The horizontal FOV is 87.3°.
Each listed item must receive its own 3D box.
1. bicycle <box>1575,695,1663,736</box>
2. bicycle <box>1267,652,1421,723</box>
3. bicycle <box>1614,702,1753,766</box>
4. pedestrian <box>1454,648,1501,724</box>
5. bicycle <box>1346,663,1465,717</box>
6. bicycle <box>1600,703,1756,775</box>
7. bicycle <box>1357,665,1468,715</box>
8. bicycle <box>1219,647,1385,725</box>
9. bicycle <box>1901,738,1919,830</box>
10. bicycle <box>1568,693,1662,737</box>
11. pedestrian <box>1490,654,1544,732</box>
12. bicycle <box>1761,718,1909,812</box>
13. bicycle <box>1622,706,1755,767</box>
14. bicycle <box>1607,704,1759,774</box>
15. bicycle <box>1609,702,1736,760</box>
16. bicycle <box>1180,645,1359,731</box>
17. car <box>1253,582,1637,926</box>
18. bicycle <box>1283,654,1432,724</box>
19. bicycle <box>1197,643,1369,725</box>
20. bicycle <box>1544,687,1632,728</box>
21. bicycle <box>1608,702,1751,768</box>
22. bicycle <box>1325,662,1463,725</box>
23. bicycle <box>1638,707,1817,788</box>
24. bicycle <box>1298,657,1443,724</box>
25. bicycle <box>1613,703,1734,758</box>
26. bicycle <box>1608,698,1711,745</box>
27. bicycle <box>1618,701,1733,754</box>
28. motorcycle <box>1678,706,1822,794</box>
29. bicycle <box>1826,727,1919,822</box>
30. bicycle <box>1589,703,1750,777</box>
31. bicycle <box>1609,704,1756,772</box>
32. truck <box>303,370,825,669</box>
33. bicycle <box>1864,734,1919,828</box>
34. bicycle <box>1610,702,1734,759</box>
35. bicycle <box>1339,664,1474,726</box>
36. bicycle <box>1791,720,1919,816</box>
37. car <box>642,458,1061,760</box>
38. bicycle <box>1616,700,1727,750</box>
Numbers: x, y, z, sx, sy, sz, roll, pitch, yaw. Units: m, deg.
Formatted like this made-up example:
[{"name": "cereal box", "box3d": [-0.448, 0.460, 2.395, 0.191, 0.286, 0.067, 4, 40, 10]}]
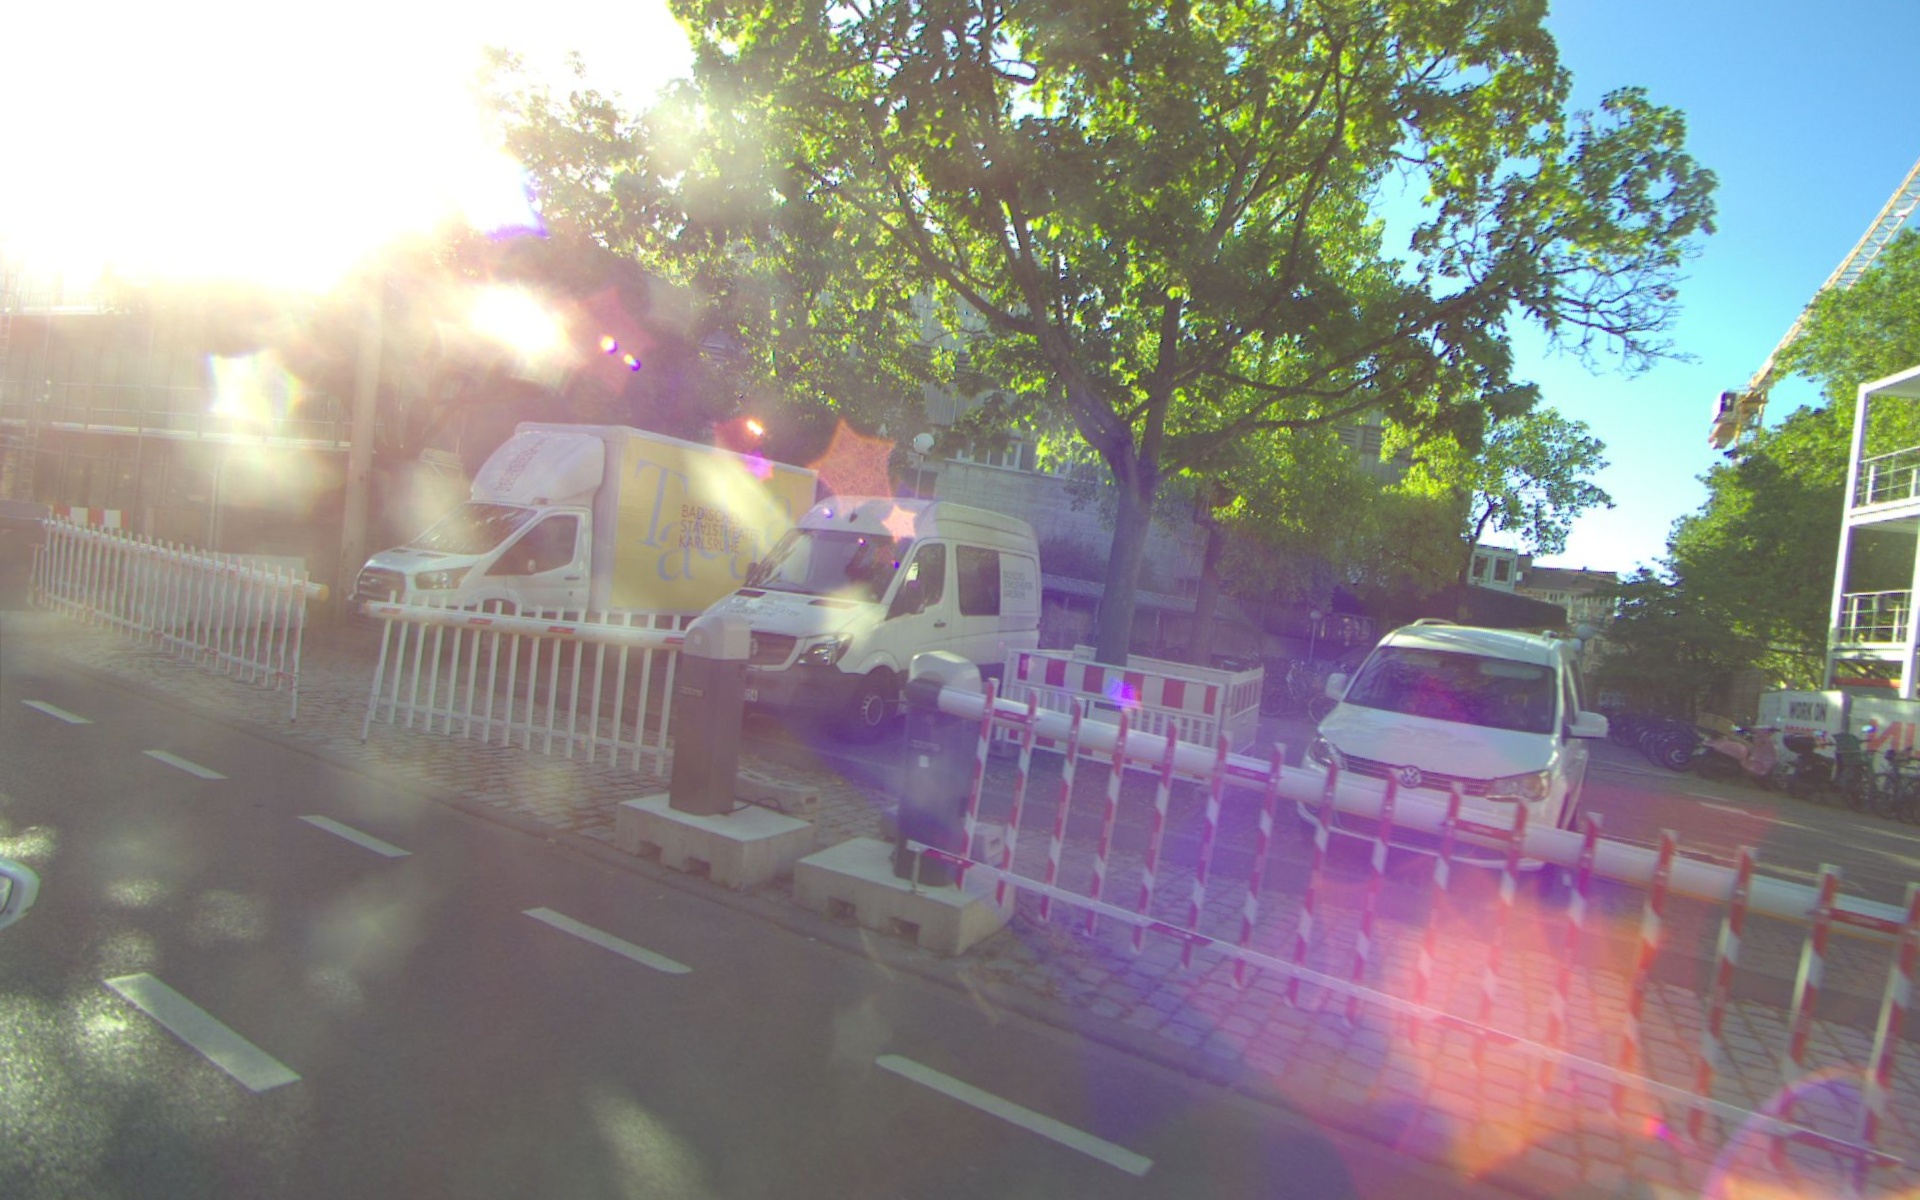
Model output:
[{"name": "bicycle", "box3d": [26.038, 4.552, 39.802, 2.792, 1.162, 0.819, 7, 1, 33]}, {"name": "bicycle", "box3d": [8.620, 1.948, 22.726, 3.044, 1.162, 0.818, 7, 1, 40]}, {"name": "bicycle", "box3d": [18.841, 3.459, 26.245, 2.797, 1.162, 0.818, 7, 1, 40]}, {"name": "pedestrian", "box3d": [14.770, 2.455, 28.709, 0.792, 2.039, 0.934, 7, 1, 41]}, {"name": "bicycle", "box3d": [13.193, 2.650, 29.895, 3.044, 1.162, 0.818, 7, 1, 40]}, {"name": "bicycle", "box3d": [16.631, 3.187, 23.374, 2.797, 1.162, 0.818, 7, 1, 40]}, {"name": "bicycle", "box3d": [14.574, 2.901, 32.490, 3.044, 1.162, 0.818, 7, 1, 40]}, {"name": "bicycle", "box3d": [6.982, 1.734, 20.677, 3.044, 1.162, 0.818, 7, 1, 40]}, {"name": "bicycle", "box3d": [14.660, 2.741, 14.391, 2.014, 1.273, 0.470, 7, 1, -7]}, {"name": "bicycle", "box3d": [24.307, 4.240, 37.389, 2.792, 1.162, 0.819, 7, 1, 33]}, {"name": "pedestrian", "box3d": [15.702, 2.592, 28.377, 0.788, 2.039, 1.031, 7, 1, 7]}, {"name": "bicycle", "box3d": [14.535, 2.741, 16.729, 2.014, 1.273, 0.542, 7, 1, -7]}, {"name": "bicycle", "box3d": [19.695, 3.657, 27.252, 2.797, 1.162, 0.818, 7, 1, 40]}, {"name": "bicycle", "box3d": [17.204, 3.271, 24.010, 2.797, 1.162, 0.818, 7, 1, 40]}, {"name": "bicycle", "box3d": [20.143, 3.678, 28.501, 2.797, 1.162, 0.818, 7, 1, 40]}, {"name": "bicycle", "box3d": [5.766, 1.623, 18.923, 3.044, 1.162, 0.818, 7, 1, 40]}, {"name": "car", "box3d": [4.435, 1.045, 8.655, 1.979, 1.917, 4.928, 8, 2, 35]}, {"name": "bicycle", "box3d": [9.246, 2.056, 23.541, 3.044, 1.162, 0.818, 7, 1, 40]}, {"name": "bicycle", "box3d": [6.291, 1.615, 19.768, 3.044, 1.162, 0.818, 7, 1, 40]}, {"name": "bicycle", "box3d": [24.596, 4.211, 39.441, 2.792, 1.162, 0.819, 7, 1, 33]}, {"name": "bicycle", "box3d": [18.236, 3.396, 25.558, 2.797, 1.162, 0.818, 7, 1, 40]}, {"name": "bicycle", "box3d": [11.142, 2.382, 25.929, 3.044, 1.162, 0.818, 7, 1, 40]}, {"name": "bicycle", "box3d": [15.773, 2.996, 20.764, 2.797, 1.162, 0.818, 7, 1, 40]}, {"name": "bicycle", "box3d": [9.830, 2.154, 24.210, 3.044, 1.162, 0.818, 7, 1, 40]}, {"name": "bicycle", "box3d": [21.304, 3.861, 30.073, 2.797, 1.162, 0.818, 7, 1, 40]}, {"name": "bicycle", "box3d": [24.303, 4.206, 34.996, 2.797, 1.162, 0.818, 7, 1, 40]}, {"name": "bicycle", "box3d": [22.477, 3.982, 31.663, 2.797, 1.162, 0.818, 7, 1, 40]}, {"name": "motorcycle", "box3d": [14.083, 2.665, 17.949, 2.173, 1.273, 0.542, 7, 1, -7]}, {"name": "bicycle", "box3d": [14.609, 2.738, 15.534, 2.014, 1.273, 0.542, 7, 1, -7]}, {"name": "bicycle", "box3d": [15.913, 3.110, 22.625, 2.797, 1.162, 0.818, 7, 1, 40]}, {"name": "bicycle", "box3d": [17.741, 3.362, 24.776, 2.797, 1.162, 0.818, 7, 1, 40]}, {"name": "truck", "box3d": [-5.307, -0.857, 15.069, 2.350, 3.391, 7.103, 7, 1, 31]}, {"name": "bicycle", "box3d": [14.675, 2.759, 14.945, 2.014, 1.273, 0.542, 7, 1, -7]}, {"name": "bicycle", "box3d": [20.746, 3.775, 29.356, 2.797, 1.162, 0.818, 7, 1, 40]}, {"name": "bicycle", "box3d": [11.764, 2.485, 26.615, 3.044, 1.162, 0.818, 7, 1, 40]}, {"name": "bicycle", "box3d": [14.545, 2.698, 16.131, 2.014, 1.273, 0.542, 7, 1, -7]}, {"name": "car", "box3d": [-0.871, 0.064, 11.614, 1.965, 2.565, 5.367, 7, 3, 28]}, {"name": "bicycle", "box3d": [23.254, 4.068, 32.921, 2.797, 1.162, 0.818, 7, 1, 40]}]
